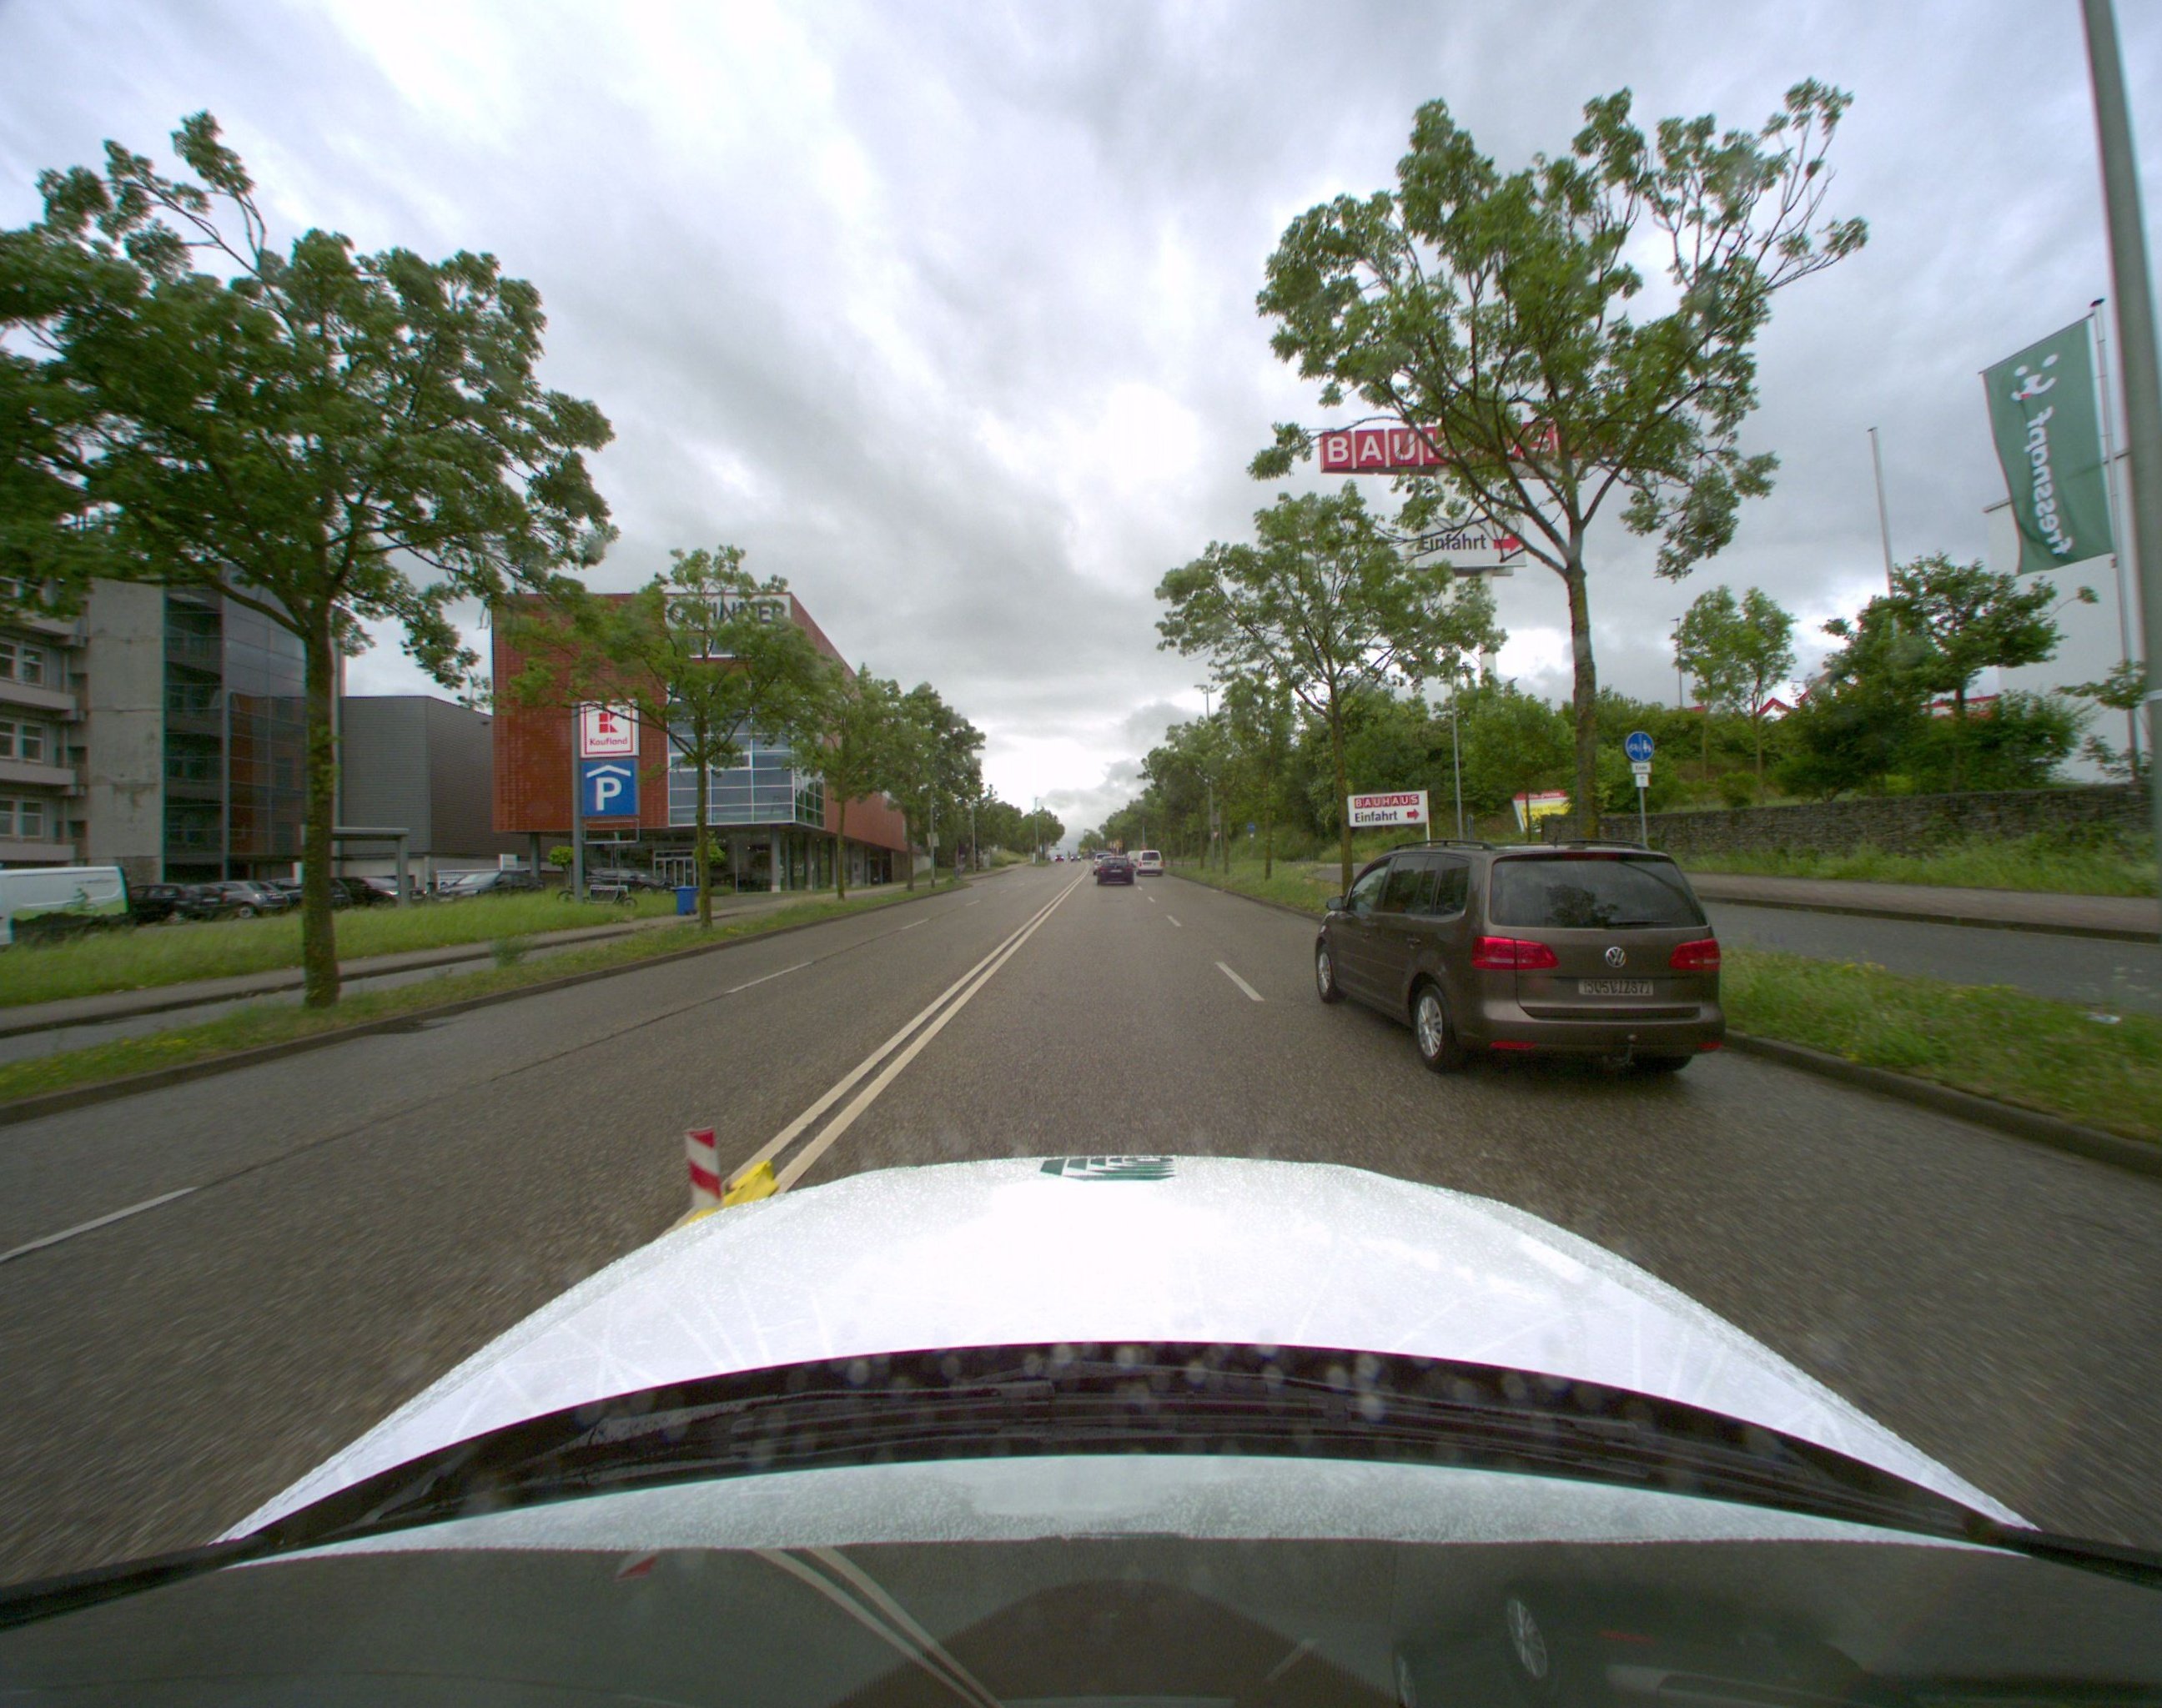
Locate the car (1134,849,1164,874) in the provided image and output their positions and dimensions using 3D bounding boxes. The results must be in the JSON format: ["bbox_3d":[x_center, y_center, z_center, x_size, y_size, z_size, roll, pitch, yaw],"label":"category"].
[{"bbox_3d":[4.838,0.522,58.137,1.821,1.759,3.999,0,0,0],"label":"car"}]

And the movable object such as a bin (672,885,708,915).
[{"bbox_3d":[-14.681,1.715,30.591,0.816,1.079,1.086,-1,0,1],"label":"movable object such as a bin"}]

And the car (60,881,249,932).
[{"bbox_3d":[-32.042,1.788,28.293,4.105,1.510,1.815,-1,1,-7],"label":"car"}]

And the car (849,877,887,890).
[{"bbox_3d":[-22.069,3.032,84.503,3.520,1.284,1.522,0,-1,4],"label":"car"}]

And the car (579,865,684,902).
[{"bbox_3d":[-22.405,1.452,40.726,4.279,1.682,1.790,-1,-2,-17],"label":"car"}]

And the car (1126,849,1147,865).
[{"bbox_3d":[5.454,0.289,80.594,1.788,1.510,3.999,0,-1,0],"label":"car"}]

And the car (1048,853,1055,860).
[{"bbox_3d":[-7.294,0.615,200.957,1.789,1.510,3.997,0,-1,-2],"label":"car"}]

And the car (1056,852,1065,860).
[{"bbox_3d":[-4.361,0.462,174.375,1.789,1.510,3.997,0,-1,-2],"label":"car"}]

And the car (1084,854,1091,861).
[{"bbox_3d":[1.491,0.804,188.208,1.788,1.510,3.999,0,-1,0],"label":"car"}]

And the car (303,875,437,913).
[{"bbox_3d":[-32.514,1.791,37.357,4.187,1.510,1.897,-1,1,-7],"label":"car"}]

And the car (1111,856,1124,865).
[{"bbox_3d":[5.876,1.029,130.510,1.789,1.510,3.997,0,-1,-2],"label":"car"}]

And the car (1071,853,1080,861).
[{"bbox_3d":[-1.109,0.568,159.053,1.789,1.510,3.997,0,-1,-2],"label":"car"}]

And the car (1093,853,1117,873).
[{"bbox_3d":[1.819,0.685,63.260,1.788,1.510,3.999,0,-1,0],"label":"car"}]

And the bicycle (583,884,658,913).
[{"bbox_3d":[-16.721,1.607,29.591,2.067,0.935,1.095,2,-1,5],"label":"bicycle"}]

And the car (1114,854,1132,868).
[{"bbox_3d":[4.846,0.809,93.954,1.789,1.510,3.997,0,-1,-2],"label":"car"}]

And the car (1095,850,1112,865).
[{"bbox_3d":[2.322,0.339,84.987,1.788,1.510,4.001,0,-1,1],"label":"car"}]

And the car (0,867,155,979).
[{"bbox_3d":[-22.360,1.408,16.320,2.112,2.096,5.109,-1,1,-8],"label":"car"}]

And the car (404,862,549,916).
[{"bbox_3d":[-23.129,1.279,31.432,2.132,1.773,4.606,-1,1,-1],"label":"car"}]

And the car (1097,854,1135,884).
[{"bbox_3d":[1.800,0.735,41.960,1.820,1.468,4.002,-1,0,2],"label":"car"}]

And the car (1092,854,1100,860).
[{"bbox_3d":[3.666,0.796,198.338,1.788,1.510,3.999,0,-1,0],"label":"car"}]

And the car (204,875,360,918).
[{"bbox_3d":[-32.249,1.694,32.973,4.187,1.510,1.815,-1,1,-7],"label":"car"}]

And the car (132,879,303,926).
[{"bbox_3d":[-32.240,1.794,30.521,4.105,1.510,1.815,-1,1,-7],"label":"car"}]

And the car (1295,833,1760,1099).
[{"bbox_3d":[3.252,0.683,7.025,1.680,1.581,4.217,-1,0,0],"label":"car"}]
